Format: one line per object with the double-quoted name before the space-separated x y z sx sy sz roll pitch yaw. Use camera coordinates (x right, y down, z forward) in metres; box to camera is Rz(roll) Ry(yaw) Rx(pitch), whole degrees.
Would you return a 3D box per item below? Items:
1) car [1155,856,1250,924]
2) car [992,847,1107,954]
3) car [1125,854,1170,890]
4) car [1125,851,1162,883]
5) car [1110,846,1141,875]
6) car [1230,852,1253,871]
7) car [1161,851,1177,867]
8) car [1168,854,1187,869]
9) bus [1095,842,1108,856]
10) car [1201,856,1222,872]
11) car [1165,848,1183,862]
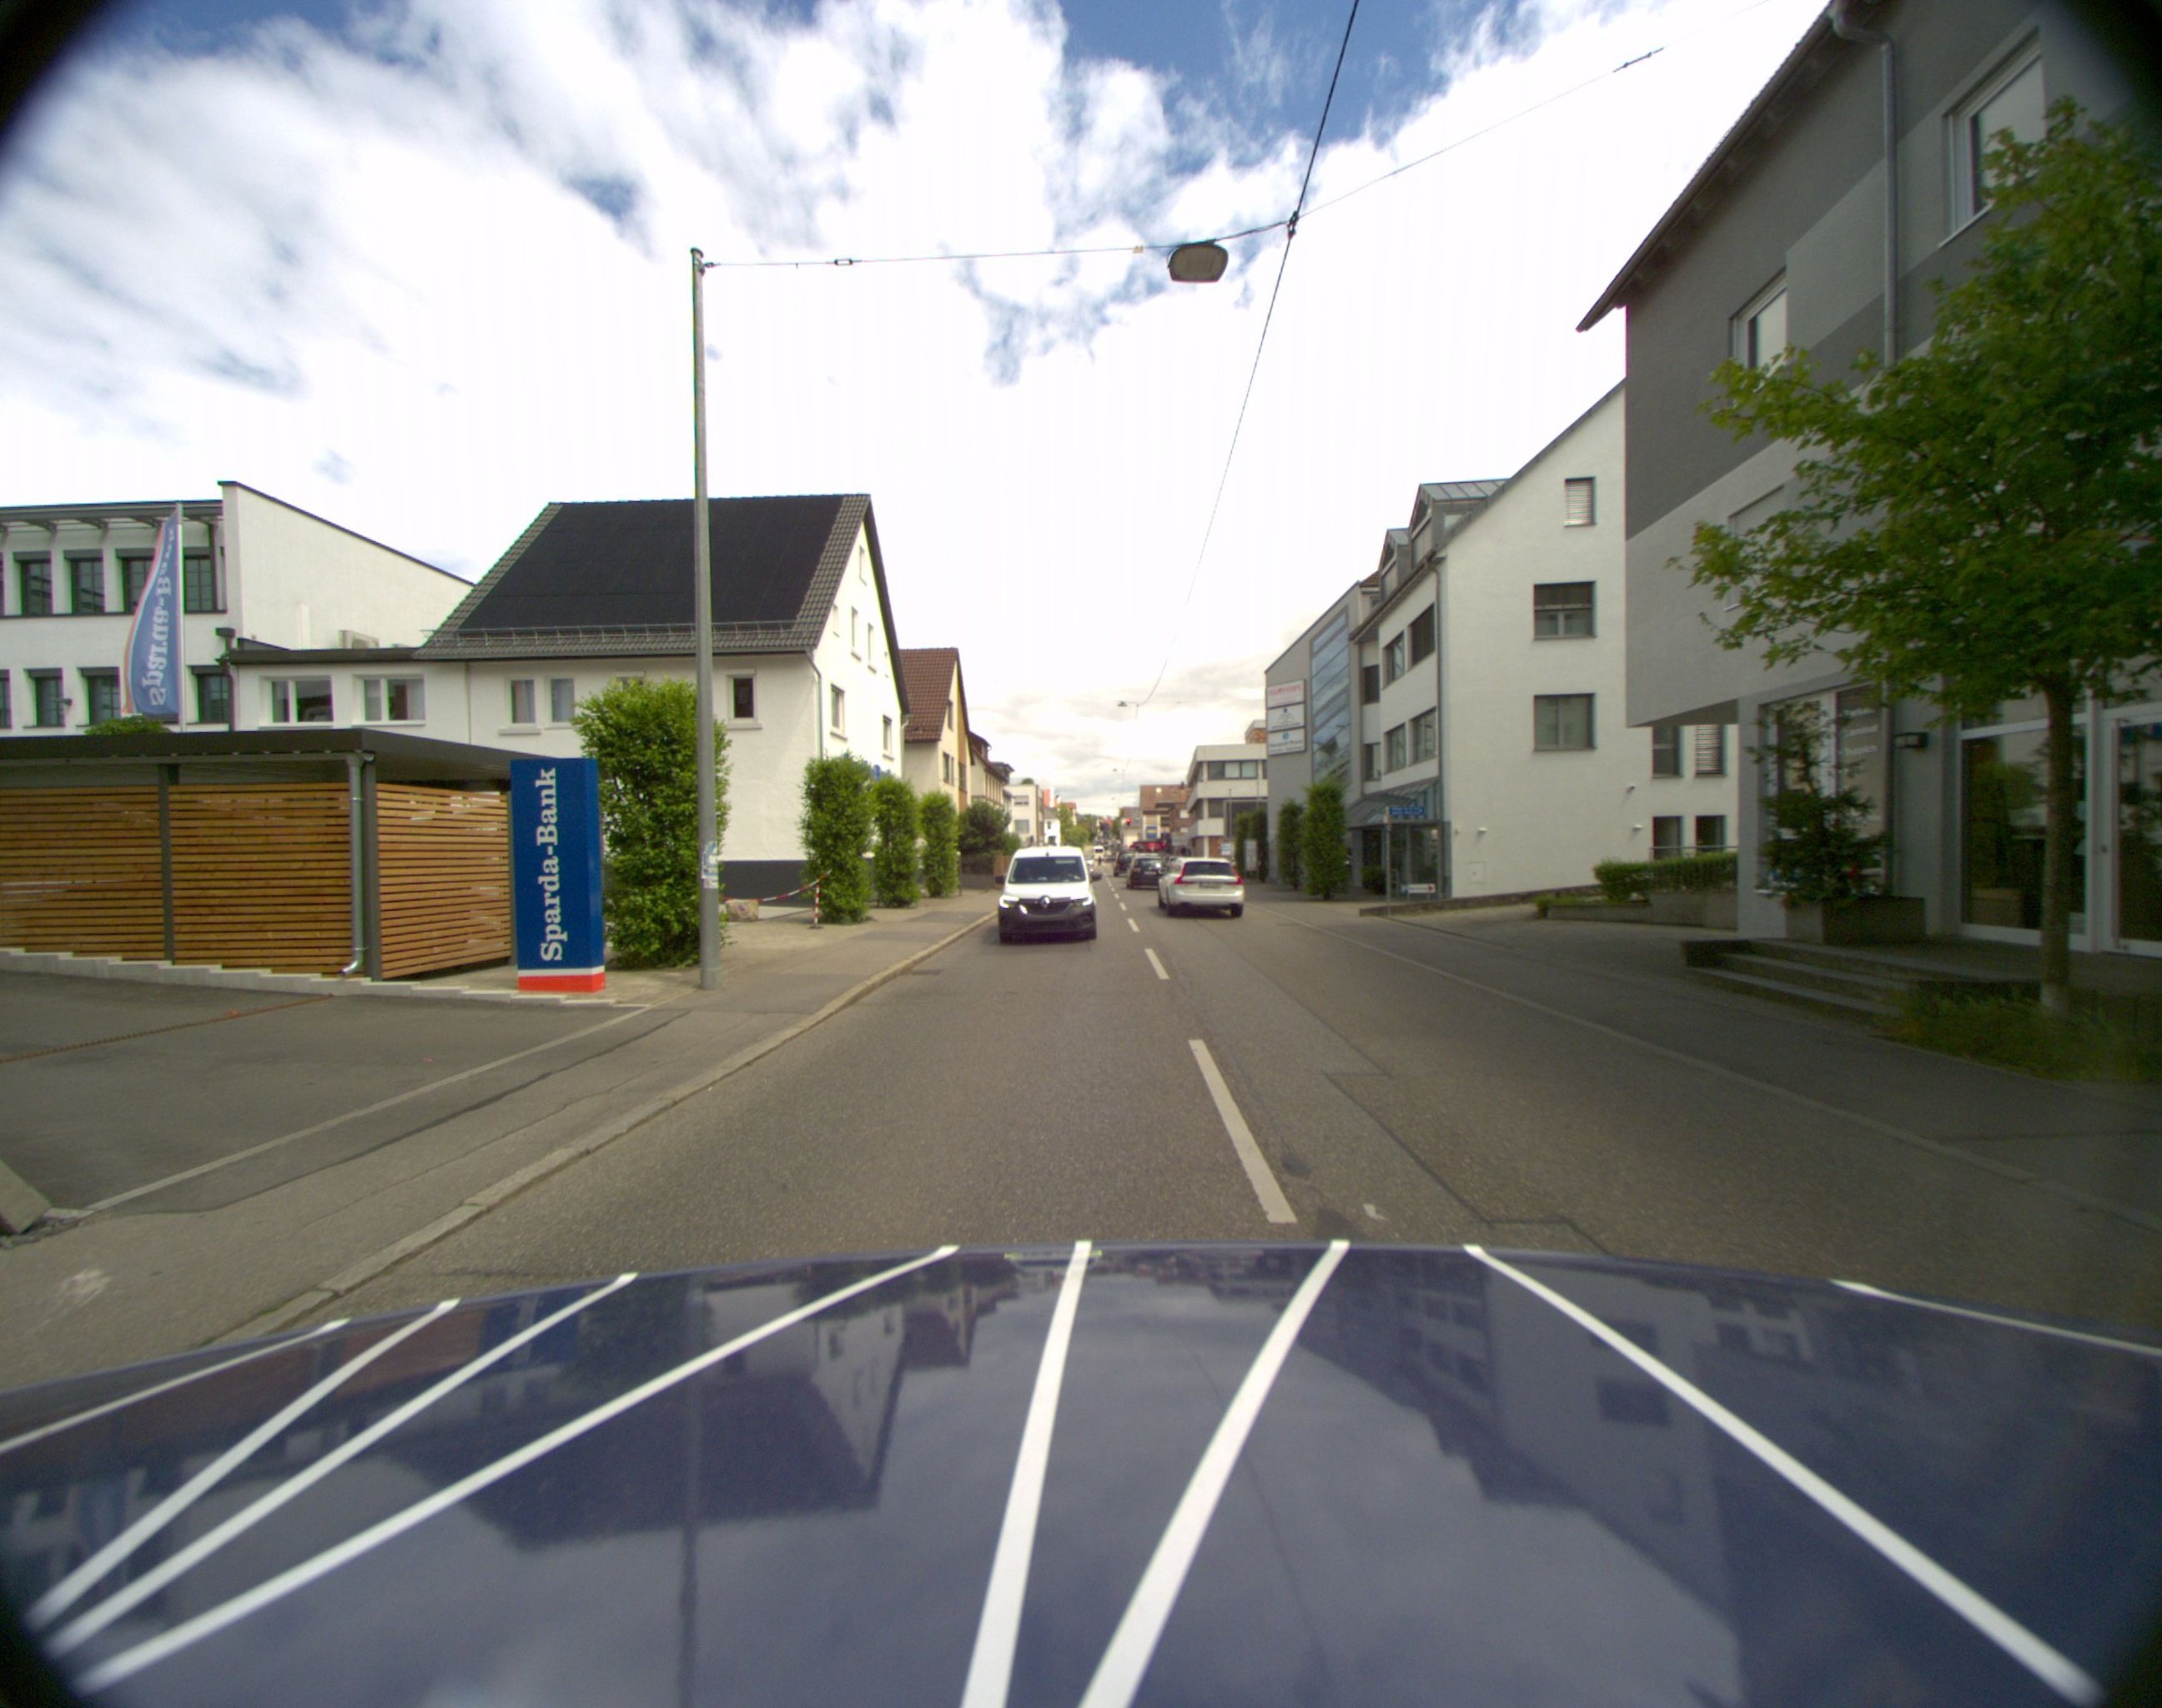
"car" 3.115 0.861 20.462 1.902 1.550 4.801 2 0 2
"car" -0.461 0.793 15.708 1.870 1.805 5.007 -2 1 3
"car" 3.104 0.826 35.985 1.836 1.575 4.037 1 0 1
"car" 3.671 0.706 45.293 1.991 1.727 4.796 2 0 2
"car" 3.368 0.474 58.415 2.116 2.139 4.883 0 0 0
"car" 14.793 0.659 70.181 1.896 1.687 3.803 1 1 9
"car" 10.662 0.599 91.745 1.701 1.766 4.463 -2 1 9
"car" 10.083 0.728 79.697 1.839 1.418 4.220 -2 1 5
"bus" 5.084 -1.302 191.995 3.133 3.239 9.750 -2 1 1
"car" 12.117 0.912 70.685 1.823 1.321 4.238 -2 1 9
"car" 10.624 0.101 86.471 1.808 1.521 4.002 -2 1 9
